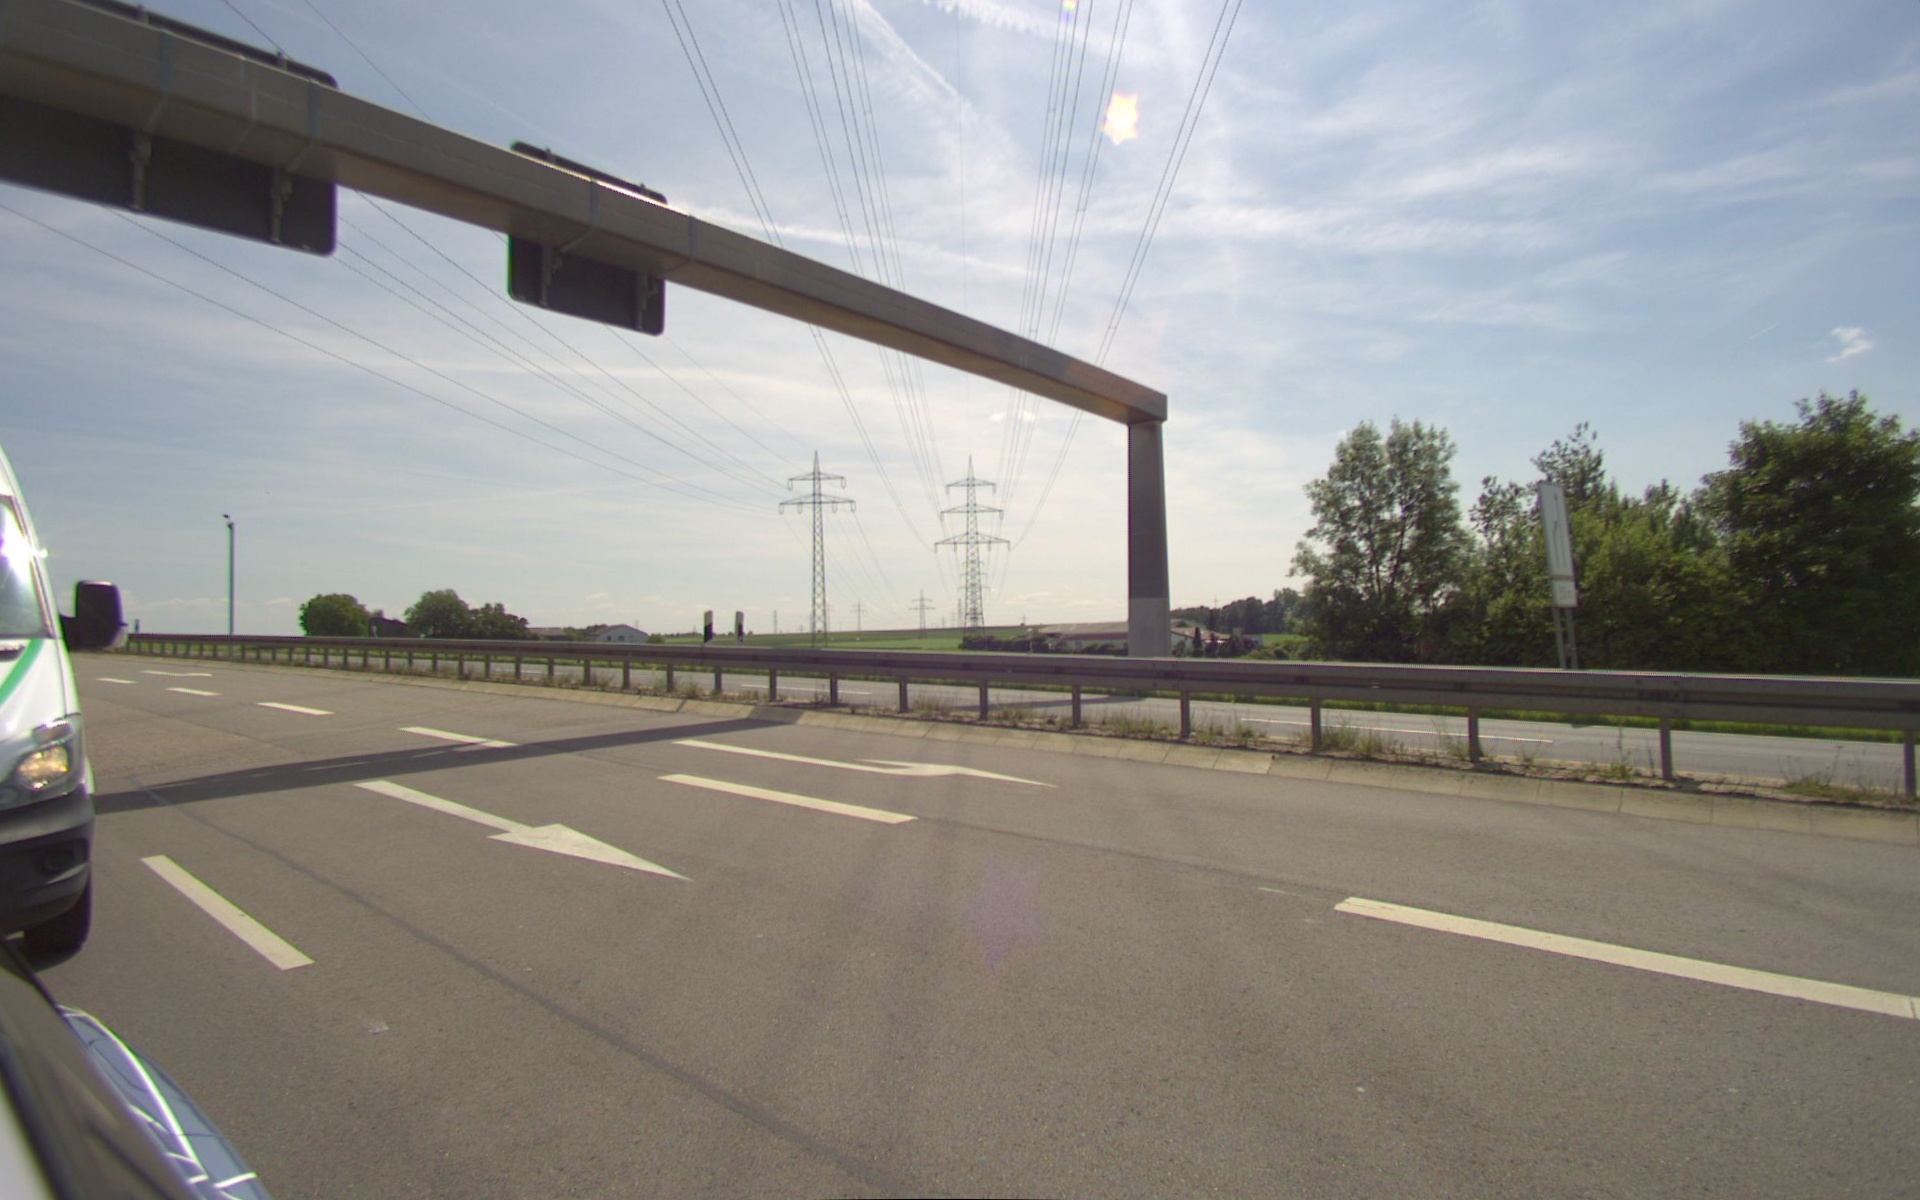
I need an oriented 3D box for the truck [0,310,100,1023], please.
[{"bbox_3d":[-5.787,0.275,4.827,5.105,2.552,1.972,-1,-1,43],"label":"truck"}]
